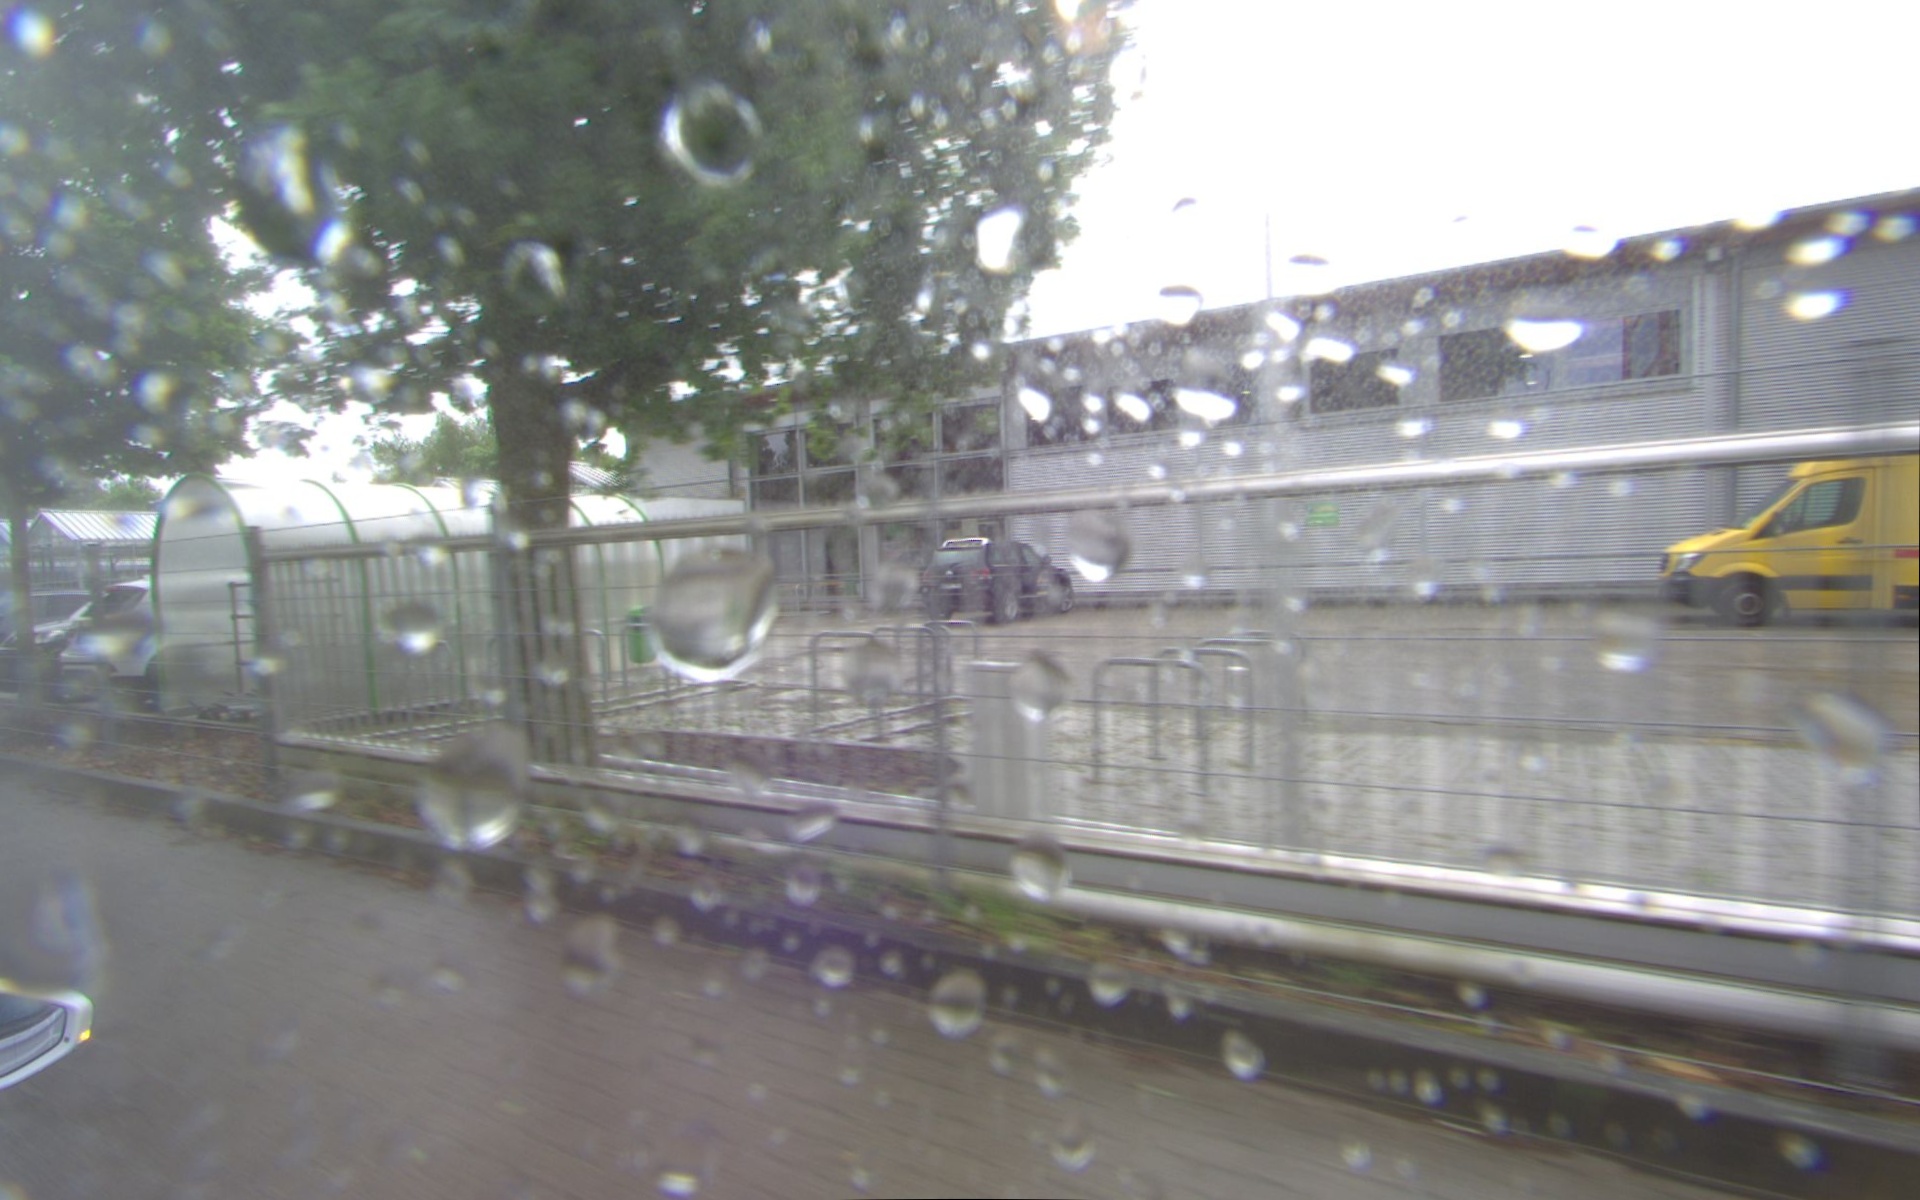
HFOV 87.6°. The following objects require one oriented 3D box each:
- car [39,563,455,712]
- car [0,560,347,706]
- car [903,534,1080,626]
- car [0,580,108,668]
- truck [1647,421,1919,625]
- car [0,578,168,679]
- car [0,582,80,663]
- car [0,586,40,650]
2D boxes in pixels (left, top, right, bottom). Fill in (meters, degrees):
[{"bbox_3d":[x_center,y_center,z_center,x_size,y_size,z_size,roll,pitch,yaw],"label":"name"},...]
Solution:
[{"bbox_3d":[-9.440,0.372,13.664,1.797,1.623,4.198,0,3,31],"label":"car"},{"bbox_3d":[-11.907,0.360,15.083,1.794,1.819,4.205,-1,3,24],"label":"car"},{"bbox_3d":[0.831,-0.517,22.687,2.034,1.858,4.348,0,3,33],"label":"car"},{"bbox_3d":[-19.436,0.522,19.276,1.794,1.641,4.205,-1,3,24],"label":"car"},{"bbox_3d":[13.908,-1.103,13.806,7.317,2.697,2.292,-1,4,35],"label":"truck"},{"bbox_3d":[-17.021,0.519,17.799,1.794,1.641,4.205,-1,3,24],"label":"car"},{"bbox_3d":[-21.141,0.533,20.532,1.794,1.641,4.205,-1,3,24],"label":"car"},{"bbox_3d":[-25.147,0.547,23.940,1.794,1.555,4.205,-1,3,24],"label":"car"}]
